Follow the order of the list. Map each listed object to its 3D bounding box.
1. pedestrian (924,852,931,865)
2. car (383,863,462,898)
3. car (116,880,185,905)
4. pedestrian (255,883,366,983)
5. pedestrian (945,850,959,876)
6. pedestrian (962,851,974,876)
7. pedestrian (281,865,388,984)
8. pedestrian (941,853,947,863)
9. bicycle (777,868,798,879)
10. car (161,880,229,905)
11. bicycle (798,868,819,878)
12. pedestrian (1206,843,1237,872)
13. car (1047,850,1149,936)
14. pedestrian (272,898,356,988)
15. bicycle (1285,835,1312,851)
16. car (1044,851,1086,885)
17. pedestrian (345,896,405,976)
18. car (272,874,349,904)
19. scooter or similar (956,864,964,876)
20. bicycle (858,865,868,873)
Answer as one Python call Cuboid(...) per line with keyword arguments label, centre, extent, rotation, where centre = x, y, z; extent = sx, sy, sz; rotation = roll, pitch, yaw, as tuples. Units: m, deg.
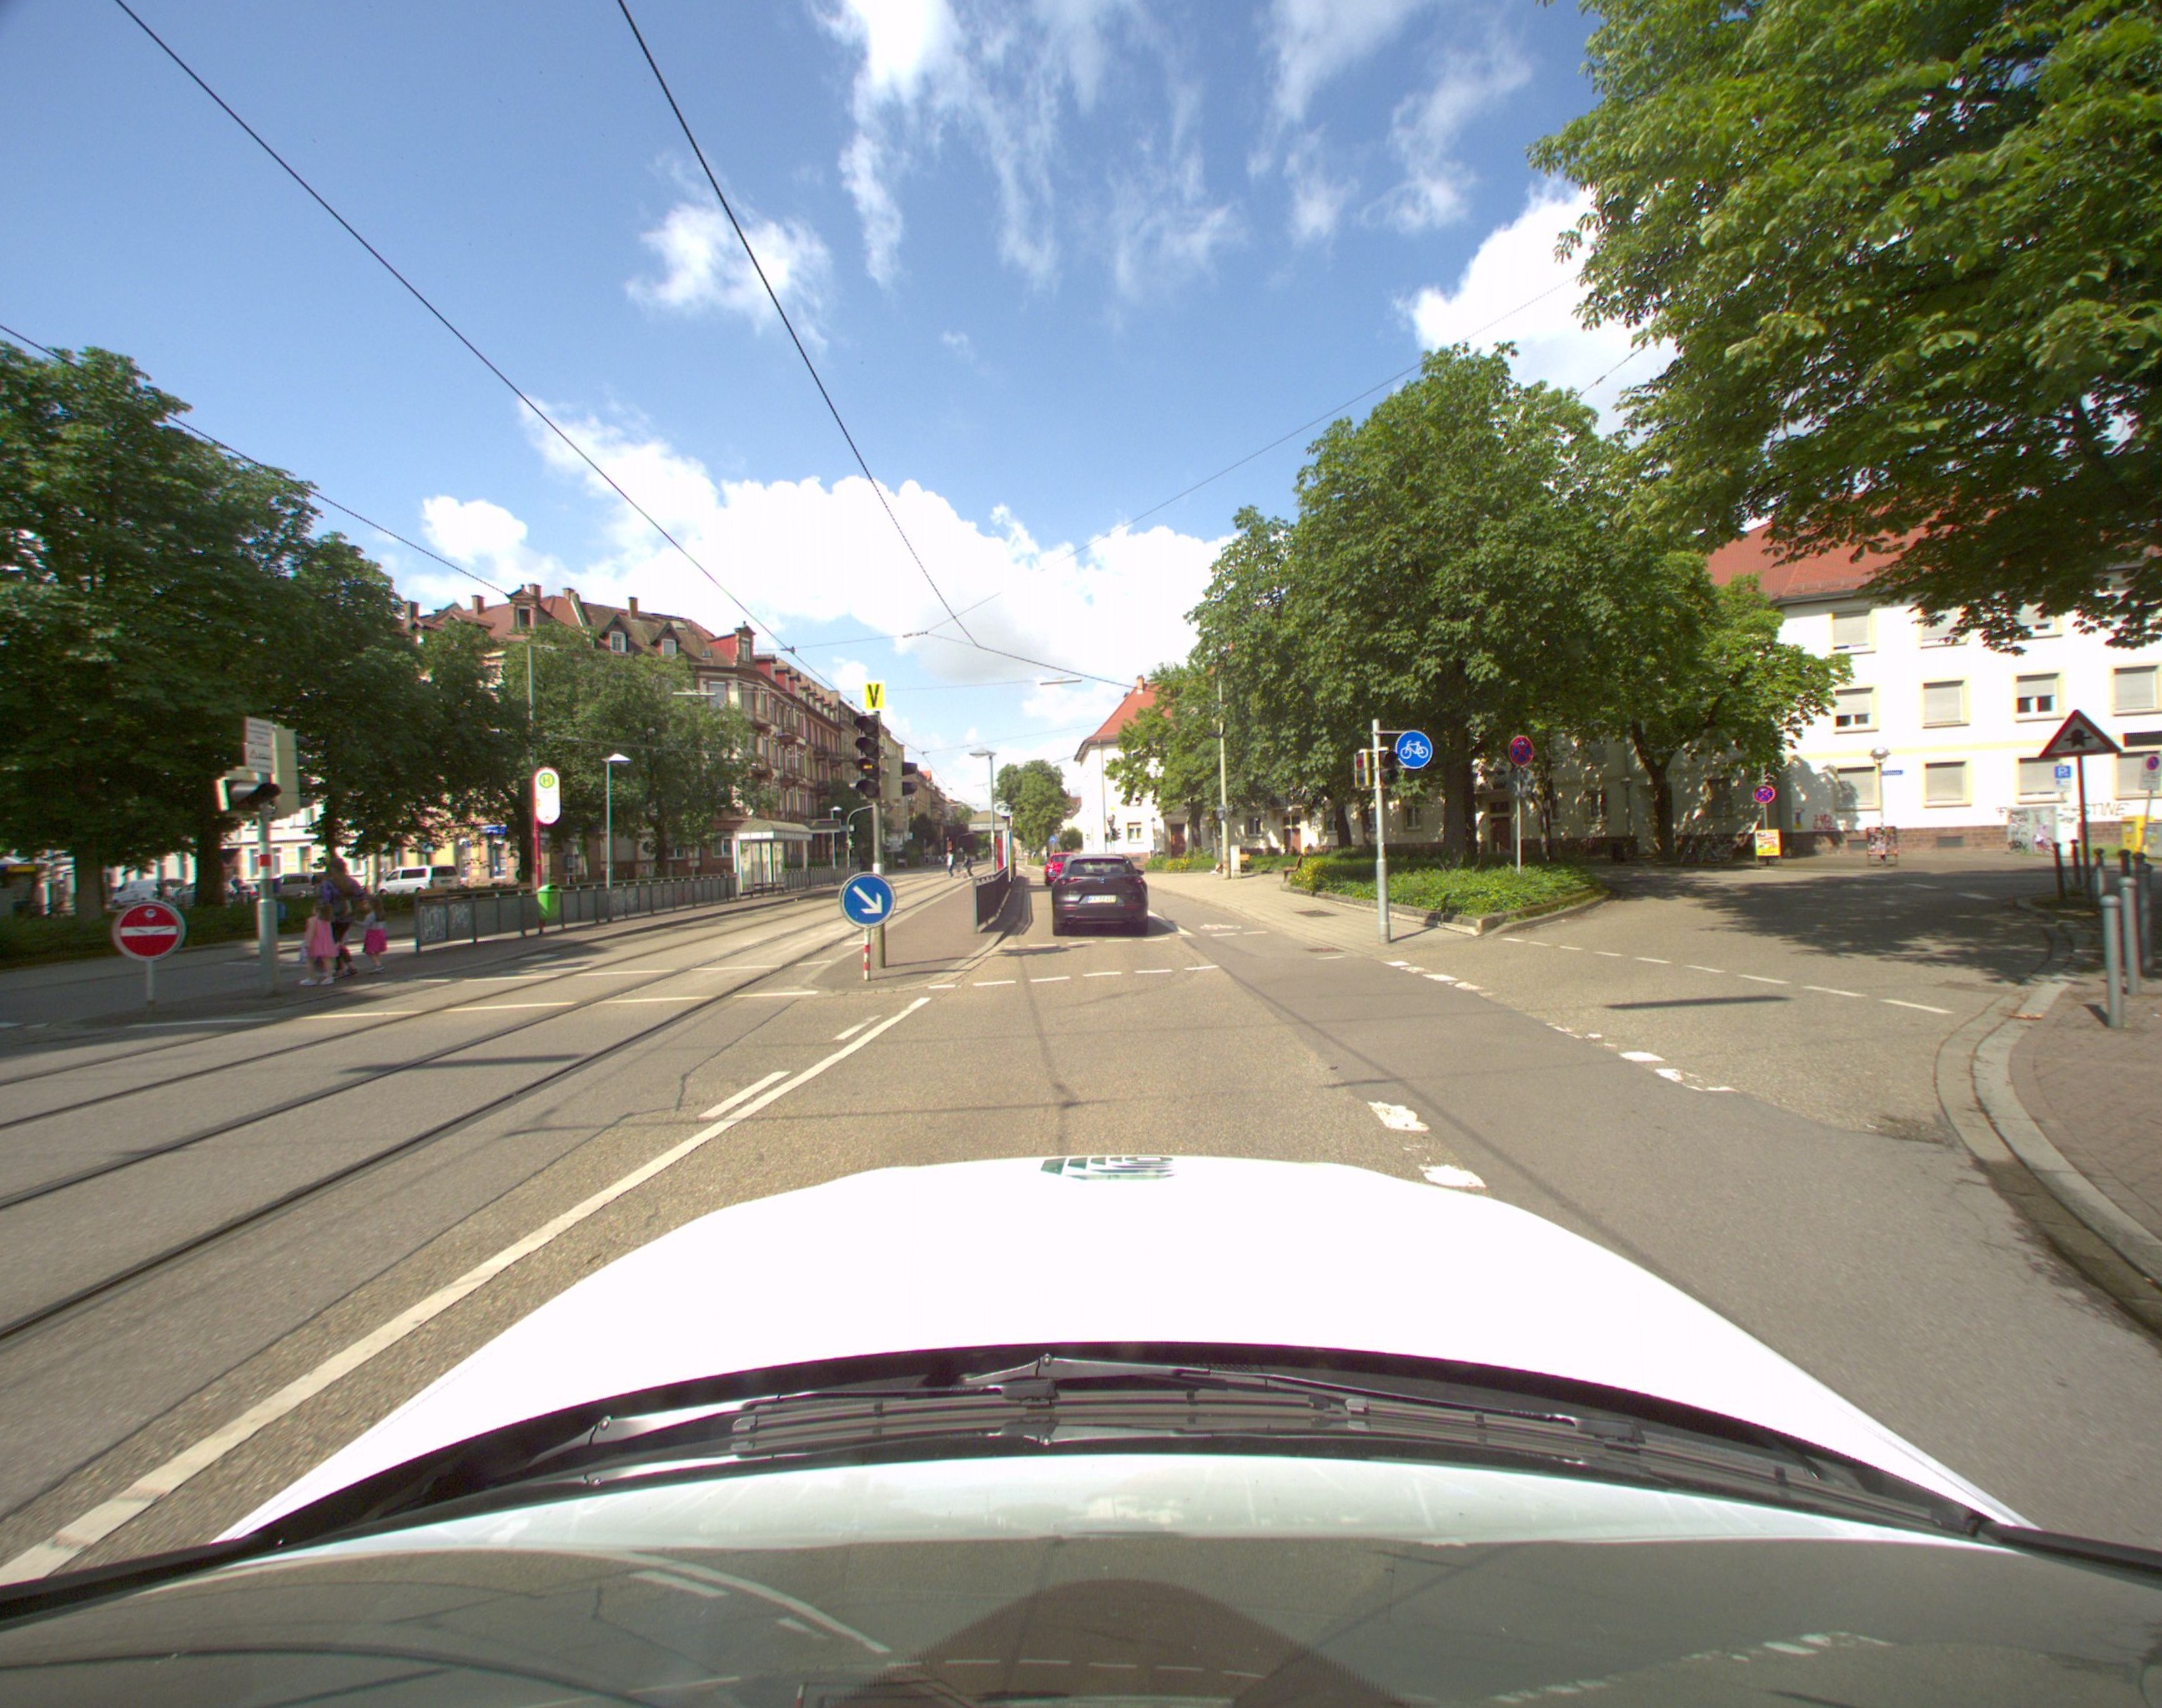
Cuboid(label="pedestrian", centre=(-20.468, 0.574, 108.833), extent=(0.786, 1.688, 0.731), rotation=(-2, 0, -2))
Cuboid(label="car", centre=(-39.773, 1.600, 49.217), extent=(3.902, 1.988, 1.866), rotation=(-2, 0, 19))
Cuboid(label="car", centre=(-64.311, 2.652, 56.304), extent=(3.876, 1.555, 1.725), rotation=(-2, 0, 18))
Cuboid(label="pedestrian", centre=(-11.148, 1.122, 11.807), extent=(0.825, 1.303, 0.715), rotation=(-4, 0, -9))
Cuboid(label="pedestrian", centre=(-8.247, 0.571, 52.197), extent=(0.769, 1.674, 0.667), rotation=(-2, 0, -5))
Cuboid(label="pedestrian", centre=(-7.109, 0.592, 51.428), extent=(0.666, 1.546, 0.580), rotation=(-2, 0, -5))
Cuboid(label="pedestrian", centre=(-10.430, 0.956, 11.415), extent=(0.727, 1.565, 0.797), rotation=(-2, 0, -8))
Cuboid(label="pedestrian", centre=(-21.927, 0.630, 130.741), extent=(0.786, 1.688, 0.731), rotation=(-2, 0, -2))
Cuboid(label="bicycle", centre=(-23.160, 1.545, 64.267), extent=(0.381, 0.747, 1.722), rotation=(-2, 0, 32))
Cuboid(label="car", centre=(-59.734, 2.590, 54.920), extent=(3.607, 1.493, 1.637), rotation=(-2, 0, 16))
Cuboid(label="bicycle", centre=(-22.102, 1.546, 65.984), extent=(0.381, 0.747, 1.722), rotation=(-2, 0, 32))
Cuboid(label="pedestrian", centre=(6.484, 0.163, 37.568), extent=(1.192, 1.269, 0.556), rotation=(-4, 0, -9))
Cuboid(label="car", centre=(0.230, 0.692, 16.442), extent=(1.778, 1.514, 3.995), rotation=(0, 0, -3))
Cuboid(label="pedestrian", centre=(-10.246, 1.176, 10.894), extent=(0.641, 1.114, 0.442), rotation=(-2, 0, -9))
Cuboid(label="bicycle", centre=(15.027, -0.766, 56.291), extent=(0.570, 1.020, 1.732), rotation=(-5, 2, -41))
Cuboid(label="car", centre=(-0.774, 0.593, 37.244), extent=(1.771, 1.464, 3.838), rotation=(-1, 0, -3))
Cuboid(label="pedestrian", centre=(-10.405, 1.194, 12.012), extent=(0.437, 1.108, 0.422), rotation=(-4, 0, -8))
Cuboid(label="car", centre=(-49.223, 2.229, 52.023), extent=(3.896, 1.663, 1.926), rotation=(-2, 0, 19))
Cuboid(label="scooter or similar", centre=(-7.636, 1.028, 51.423), extent=(0.413, 0.721, 0.485), rotation=(-2, 0, -5))
Cuboid(label="bicycle", centre=(-20.540, 1.410, 76.671), extent=(0.384, 0.677, 1.711), rotation=(-2, 0, 1))
